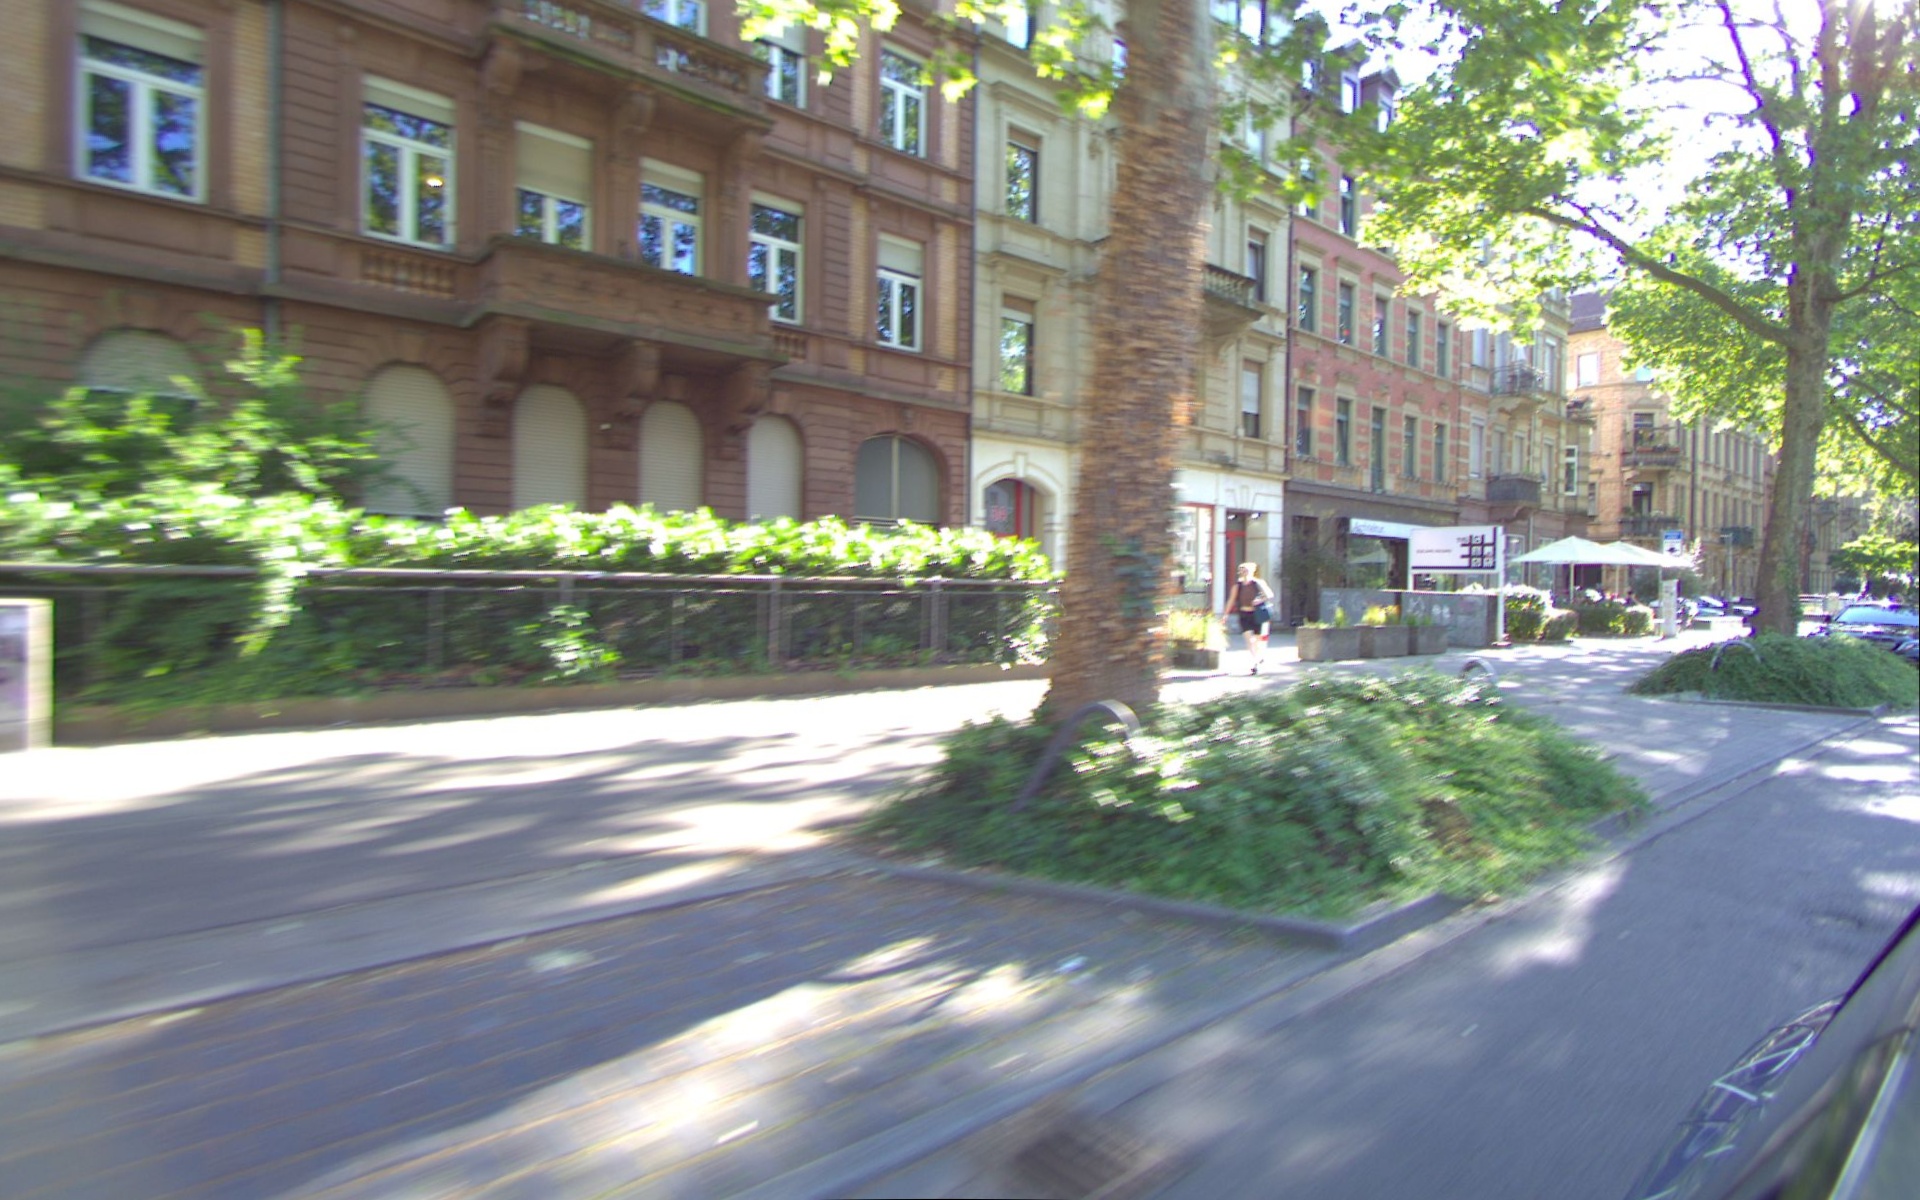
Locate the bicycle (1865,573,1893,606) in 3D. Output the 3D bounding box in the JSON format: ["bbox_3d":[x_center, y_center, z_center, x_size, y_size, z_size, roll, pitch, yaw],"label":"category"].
[{"bbox_3d":[34.657,-0.395,38.163,2.188,1.193,0.561,0,-1,-42],"label":"bicycle"}]

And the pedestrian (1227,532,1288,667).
[{"bbox_3d":[4.641,-0.019,15.793,0.622,2.039,0.674,0,1,-40],"label":"pedestrian"}]

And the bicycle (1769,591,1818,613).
[{"bbox_3d":[37.816,0.085,45.921,1.688,0.928,0.594,1,1,39],"label":"bicycle"}]

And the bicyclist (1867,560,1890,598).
[{"bbox_3d":[34.621,-0.772,38.156,0.633,1.398,0.543,1,-3,-42],"label":"bicyclist"}]

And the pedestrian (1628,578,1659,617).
[{"bbox_3d":[23.553,-0.090,34.873,0.651,1.316,0.714,0,1,-40],"label":"pedestrian"}]

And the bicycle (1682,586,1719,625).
[{"bbox_3d":[22.984,0.146,31.404,1.862,1.157,0.476,0,3,-41],"label":"bicycle"}]

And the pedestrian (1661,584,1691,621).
[{"bbox_3d":[25.348,0.080,35.827,0.651,1.316,0.714,0,1,-41],"label":"pedestrian"}]

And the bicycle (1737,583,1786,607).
[{"bbox_3d":[40.540,-0.248,51.214,0.467,1.168,1.868,0,1,-36],"label":"bicycle"}]

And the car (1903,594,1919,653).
[{"bbox_3d":[24.187,0.543,24.276,3.929,1.343,1.834,-1,1,-40],"label":"car"}]

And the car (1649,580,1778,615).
[{"bbox_3d":[34.857,-0.152,46.899,1.891,1.567,4.604,0,1,-44],"label":"car"}]

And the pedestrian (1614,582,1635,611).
[{"bbox_3d":[25.750,-0.145,39.206,0.517,1.116,0.557,0,1,-41],"label":"pedestrian"}]

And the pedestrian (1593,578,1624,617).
[{"bbox_3d":[22.212,-0.108,34.683,0.651,1.316,0.714,0,1,-39],"label":"pedestrian"}]

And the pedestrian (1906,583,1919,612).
[{"bbox_3d":[55.446,-0.149,58.805,0.606,1.648,0.531,1,2,-40],"label":"pedestrian"}]

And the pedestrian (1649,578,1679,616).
[{"bbox_3d":[24.486,-0.120,35.182,0.651,1.316,0.714,0,1,-41],"label":"pedestrian"}]

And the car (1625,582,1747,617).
[{"bbox_3d":[31.084,-0.036,43.418,1.713,1.382,3.992,2,0,-43],"label":"car"}]

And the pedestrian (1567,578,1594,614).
[{"bbox_3d":[22.970,-0.162,37.456,0.702,1.316,0.662,0,1,-41],"label":"pedestrian"}]

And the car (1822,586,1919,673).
[{"bbox_3d":[18.775,0.499,20.060,4.718,1.556,1.736,-1,1,-39],"label":"car"}]

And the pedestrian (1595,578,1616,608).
[{"bbox_3d":[25.366,-0.289,39.765,0.517,1.152,0.557,0,1,-41],"label":"pedestrian"}]
